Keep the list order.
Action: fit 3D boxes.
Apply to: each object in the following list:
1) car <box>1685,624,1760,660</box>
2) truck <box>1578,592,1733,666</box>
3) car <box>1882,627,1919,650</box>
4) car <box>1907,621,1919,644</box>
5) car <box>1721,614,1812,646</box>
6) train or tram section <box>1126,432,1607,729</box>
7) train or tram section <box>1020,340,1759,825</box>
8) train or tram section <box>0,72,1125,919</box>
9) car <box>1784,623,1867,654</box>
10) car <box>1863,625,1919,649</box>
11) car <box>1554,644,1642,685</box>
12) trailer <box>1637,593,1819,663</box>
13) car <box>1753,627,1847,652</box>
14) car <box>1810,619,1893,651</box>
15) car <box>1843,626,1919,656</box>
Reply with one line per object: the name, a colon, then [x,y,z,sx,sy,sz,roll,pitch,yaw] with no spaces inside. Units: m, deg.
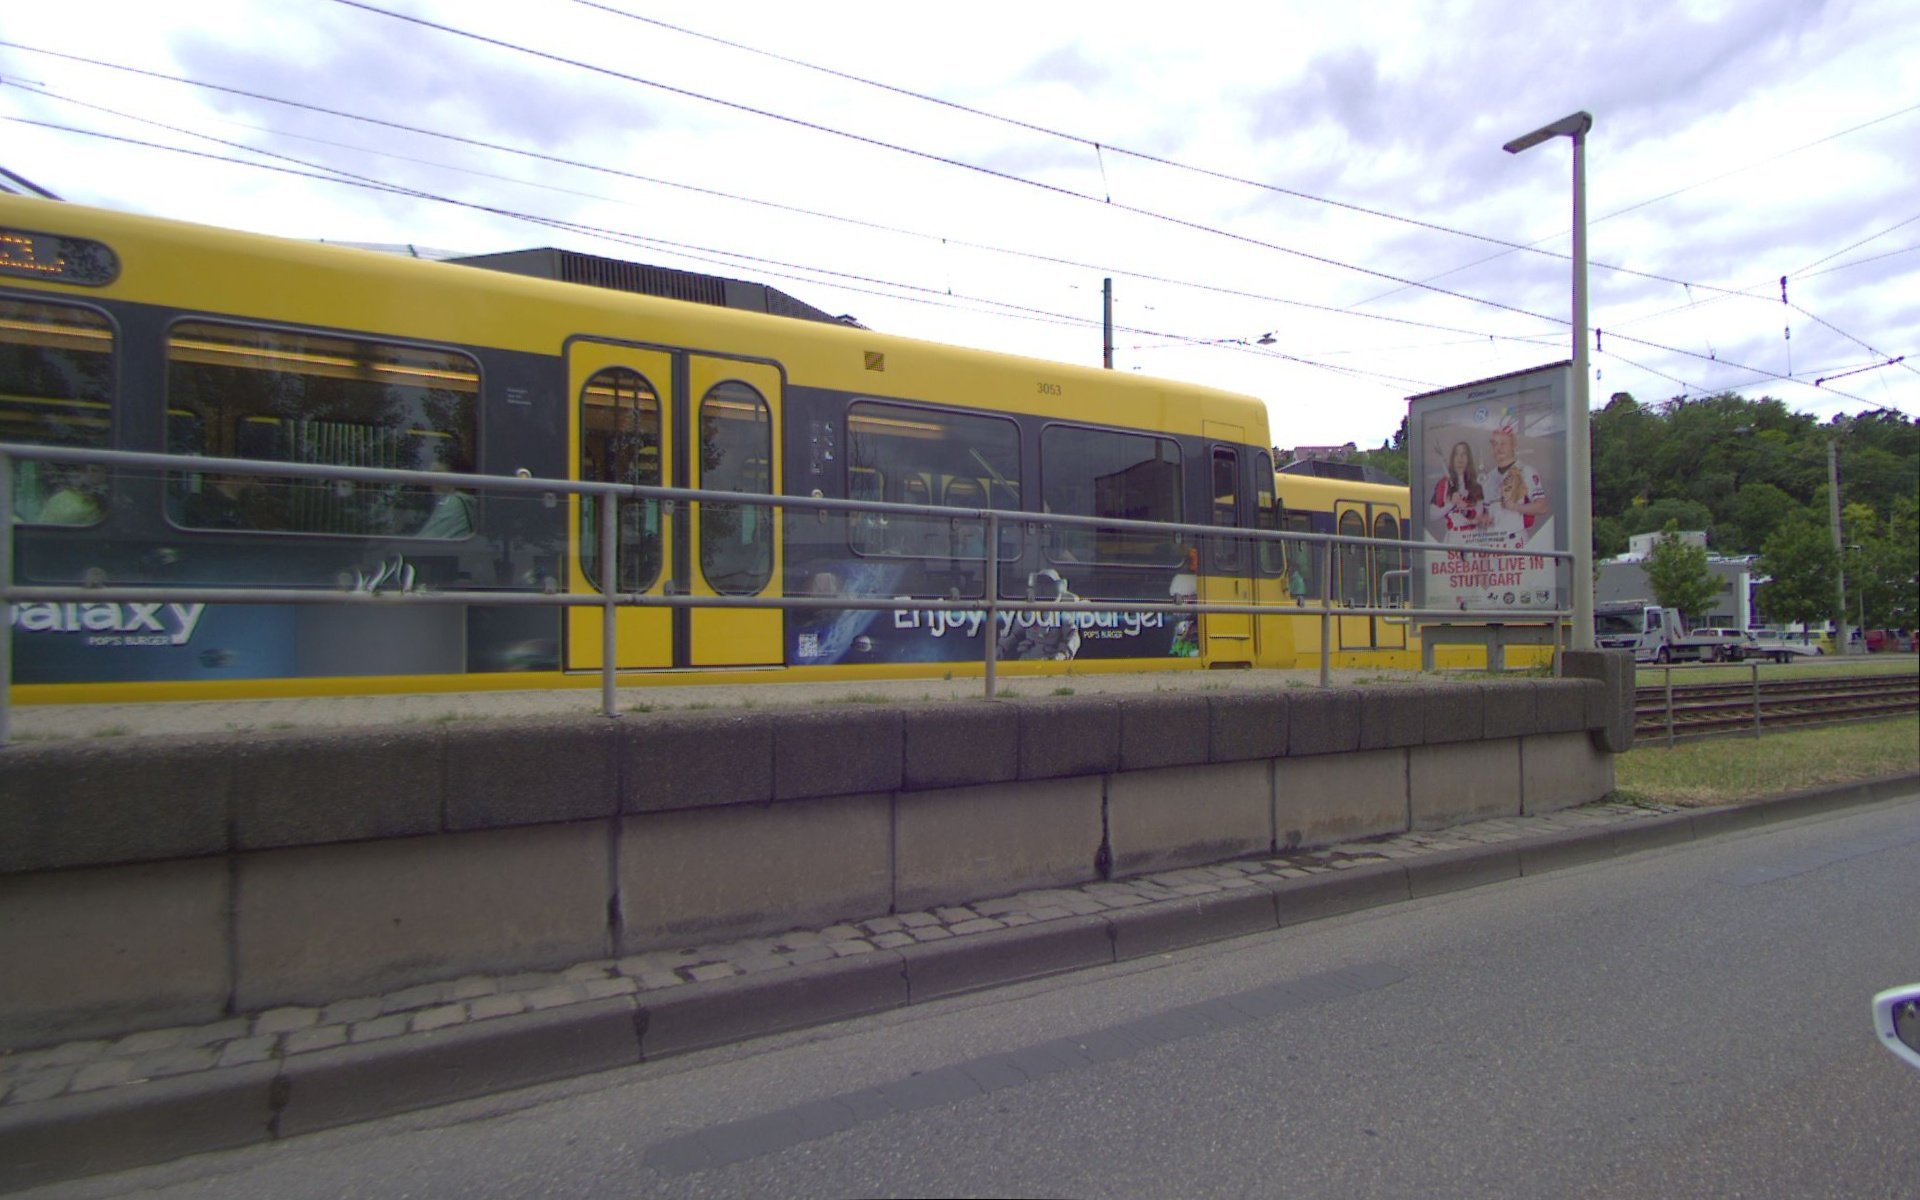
car: [47.258,2.634,62.269,4.554,1.922,1.986,5,-4,-28]
truck: [30.459,1.257,43.933,6.826,3.030,2.871,1,-1,-29]
car: [72.118,2.874,75.343,1.808,1.728,3.978,-1,-2,-23]
car: [74.772,2.451,76.147,1.808,1.728,3.978,1,-2,-23]
car: [52.923,2.008,66.037,1.963,1.922,4.606,4,-3,-7]
train or tram section: [6.843,-0.140,16.101,9.069,3.845,1.985,1,-2,-30]
train or tram section: [5.753,-0.114,12.386,10.076,4.119,2.958,0,-1,-30]
train or tram section: [-4.416,-0.471,6.415,11.771,4.019,2.728,0,-1,-30]
car: [60.464,2.687,70.204,1.975,2.039,3.973,5,-4,-27]
car: [70.044,2.761,74.612,1.808,1.728,3.978,1,-2,-23]
car: [33.788,3.415,53.208,4.203,1.901,2.148,5,-4,-28]
trailer: [36.235,1.307,47.239,10.662,3.021,2.879,1,-1,-30]
car: [57.667,2.713,69.039,1.976,1.595,4.577,5,-4,-28]
car: [63.341,2.485,71.400,1.975,2.039,3.973,5,-4,-27]
car: [67.746,3.005,73.709,1.975,2.039,3.973,5,-4,-27]
